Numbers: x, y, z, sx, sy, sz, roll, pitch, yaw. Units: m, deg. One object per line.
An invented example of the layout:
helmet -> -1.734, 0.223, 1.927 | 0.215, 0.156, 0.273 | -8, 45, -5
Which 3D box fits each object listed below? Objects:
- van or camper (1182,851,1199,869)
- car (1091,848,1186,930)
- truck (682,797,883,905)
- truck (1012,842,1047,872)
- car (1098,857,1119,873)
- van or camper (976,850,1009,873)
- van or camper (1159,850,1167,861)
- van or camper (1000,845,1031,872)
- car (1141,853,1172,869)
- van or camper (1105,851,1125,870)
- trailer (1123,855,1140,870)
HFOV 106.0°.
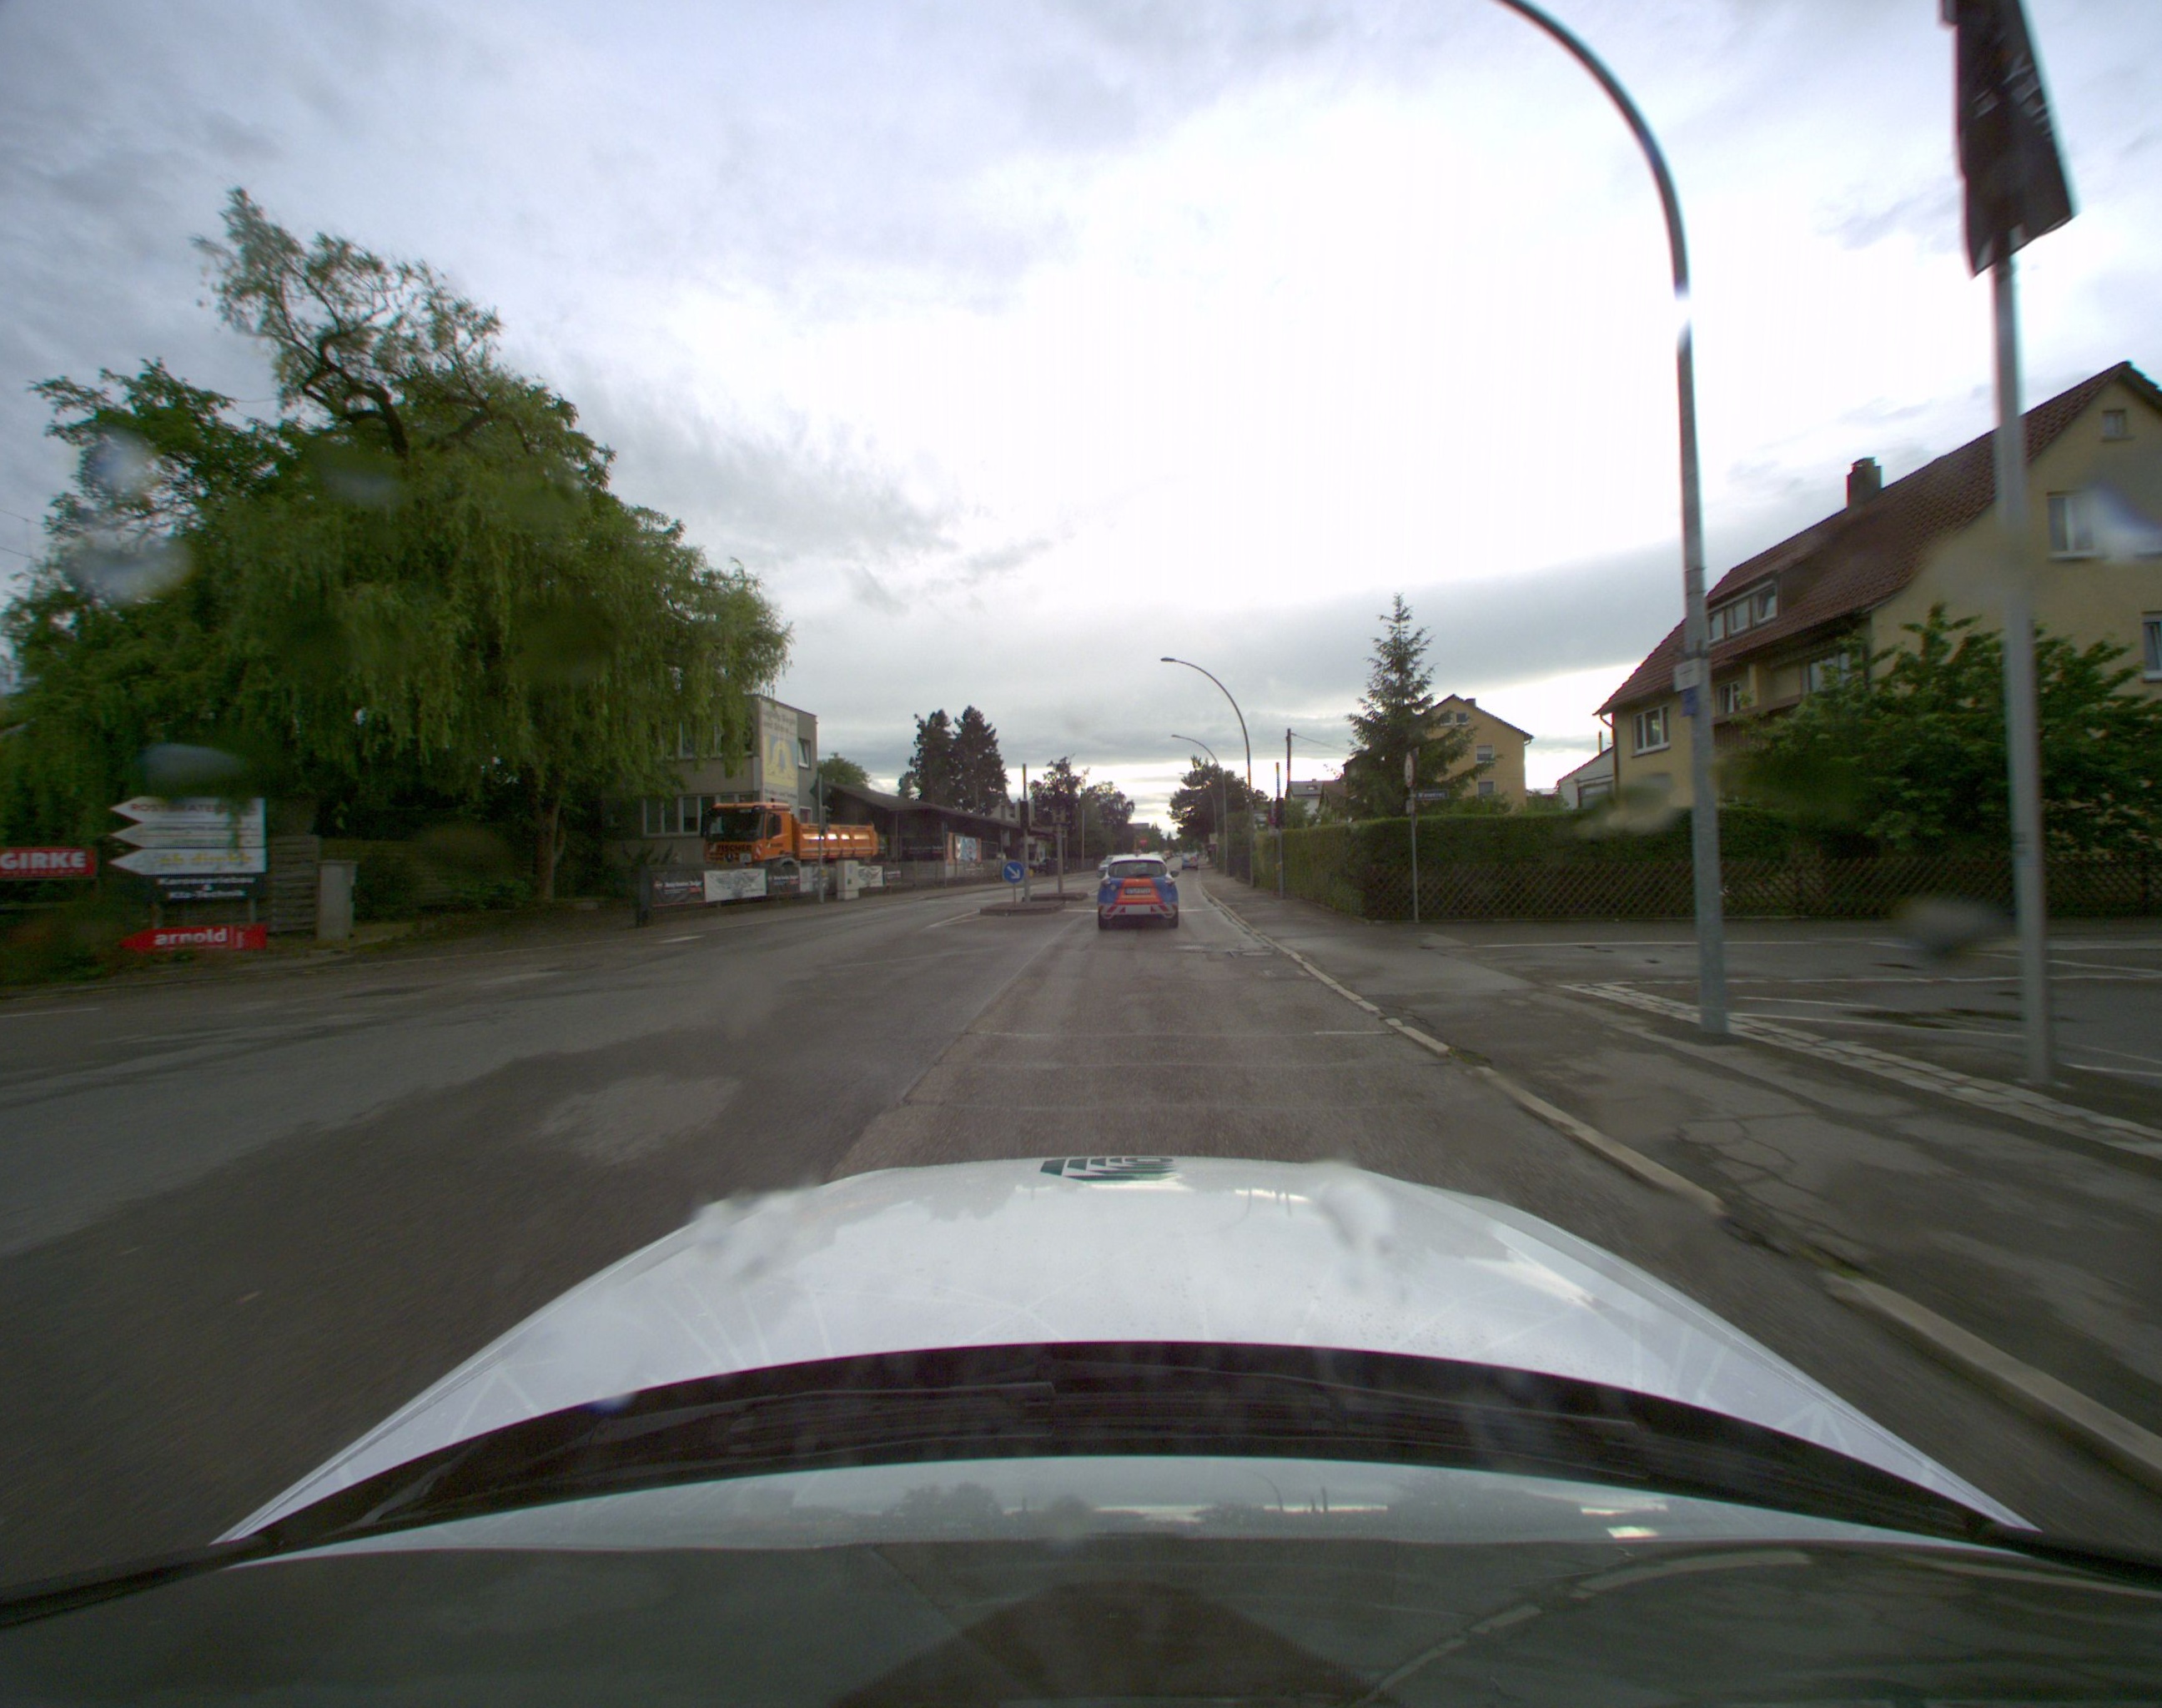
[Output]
van or camper -> 12.154, 0.671, 90.700 | 1.745, 1.883, 4.007 | -1, 0, 7
car -> 1.360, 0.712, 18.511 | 1.879, 1.632, 4.006 | -1, 0, 6
truck -> -10.645, 0.067, 30.470 | 2.680, 3.412, 9.096 | 1, -2, 10
truck -> -5.276, 0.343, 84.316 | 2.381, 2.927, 5.969 | 1, -1, 8
car -> 2.944, 1.183, 86.636 | 1.732, 1.480, 4.193 | -3, -3, 8
van or camper -> -7.774, 0.675, 71.884 | 1.984, 1.909, 4.478 | 1, -1, 6
van or camper -> 21.599, 0.353, 214.285 | 1.983, 2.775, 5.450 | -2, 0, 7
van or camper -> -6.279, 0.451, 78.659 | 1.849, 2.438, 5.242 | 1, -2, 6
car -> 7.374, 0.698, 79.865 | 1.995, 1.420, 3.984 | -1, 0, -12
van or camper -> 3.947, 0.757, 93.431 | 1.880, 2.014, 5.106 | 1, -2, 7
trailer -> 7.485, 1.246, 120.027 | 2.209, 2.014, 4.443 | 1, -2, 6
